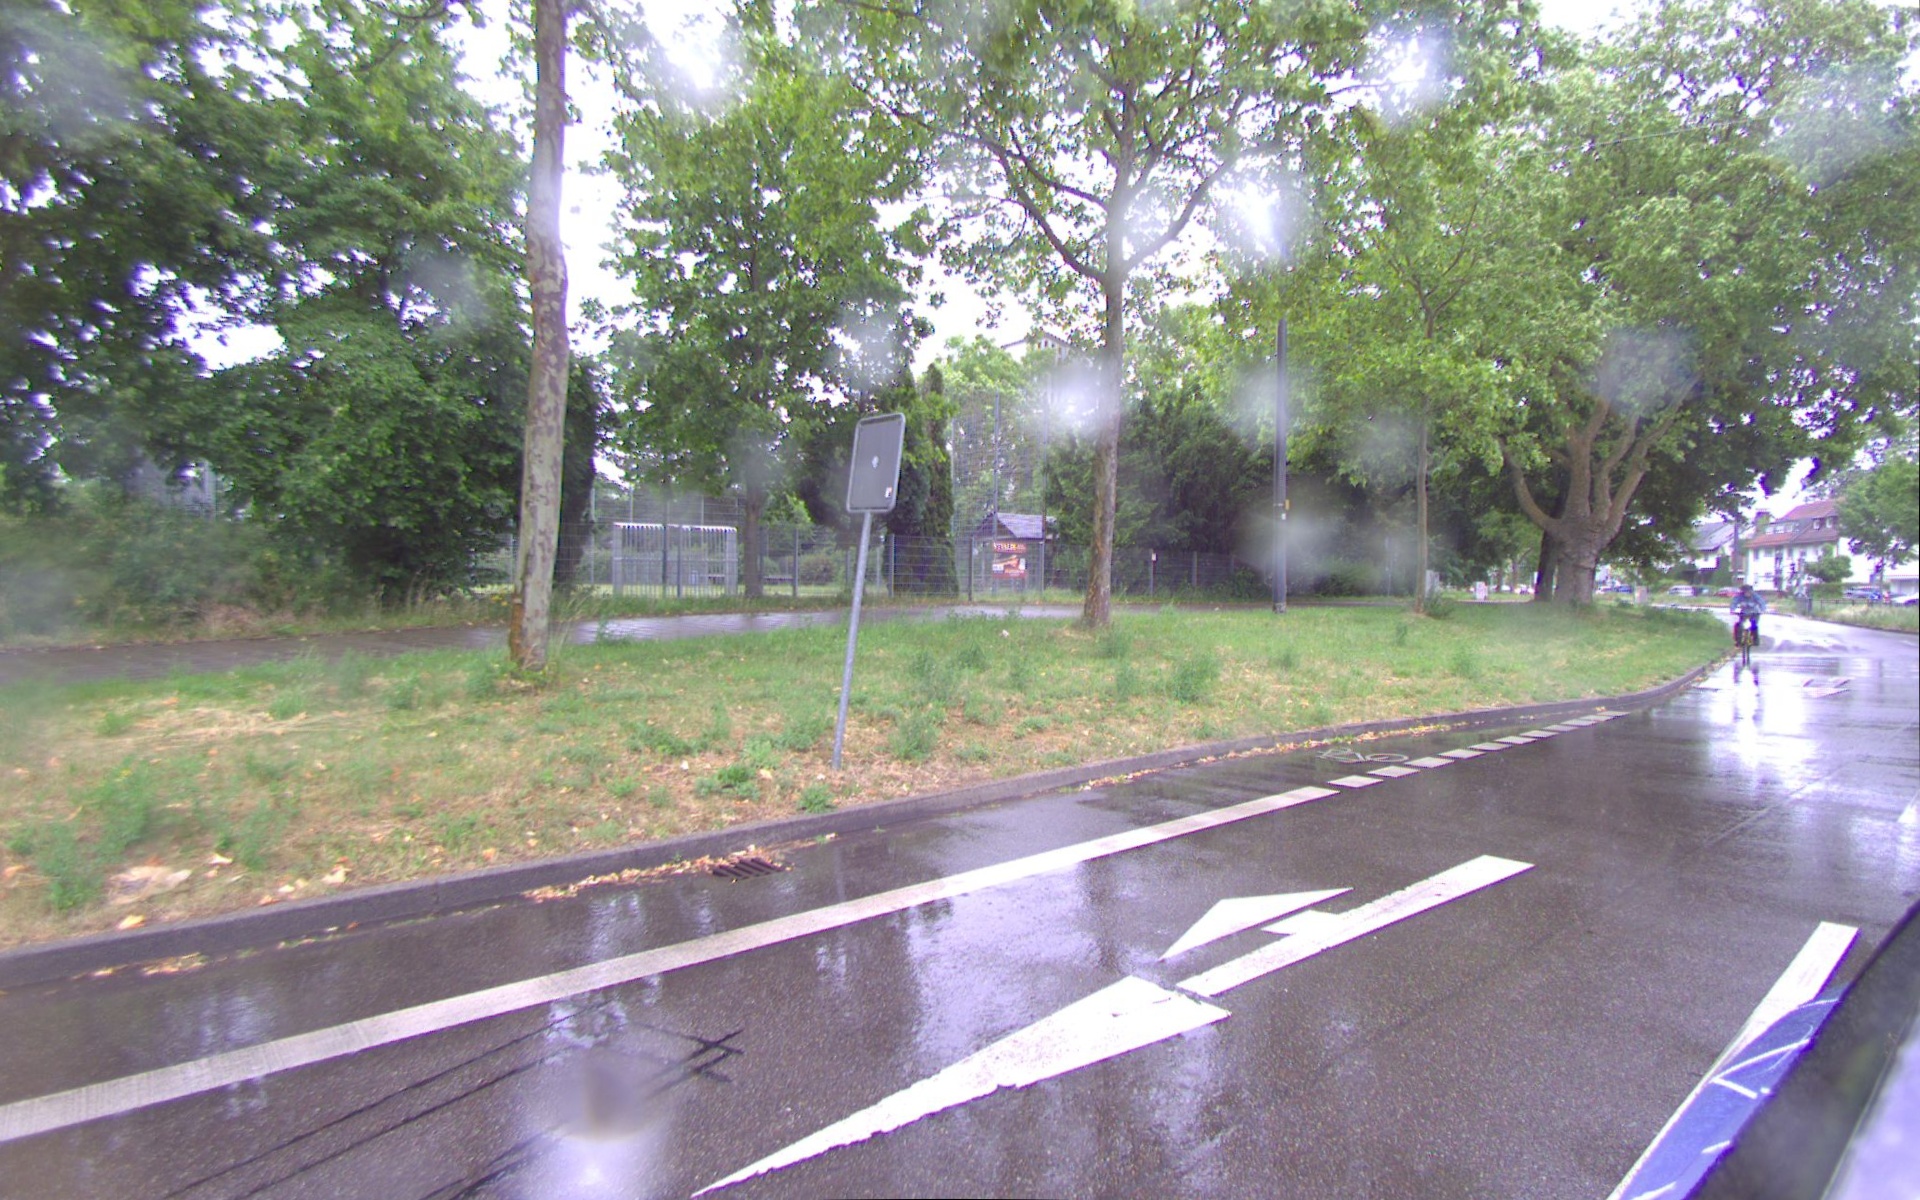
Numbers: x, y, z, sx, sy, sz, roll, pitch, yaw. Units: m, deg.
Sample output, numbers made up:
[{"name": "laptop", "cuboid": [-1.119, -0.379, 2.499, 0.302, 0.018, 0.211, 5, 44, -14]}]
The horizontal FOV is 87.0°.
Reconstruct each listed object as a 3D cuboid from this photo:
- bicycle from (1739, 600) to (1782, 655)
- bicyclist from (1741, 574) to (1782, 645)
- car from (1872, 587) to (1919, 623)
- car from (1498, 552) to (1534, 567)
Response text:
[{"name": "bicycle", "cuboid": [17.762, 0.580, 22.435, 0.690, 1.131, 1.858, 0, 1, 40]}, {"name": "bicyclist", "cuboid": [17.759, 0.200, 22.428, 0.690, 1.525, 0.832, 0, 1, 40]}, {"name": "car", "cuboid": [39.327, 0.187, 40.552, 4.025, 1.438, 1.652, 0, 0, 39]}, {"name": "car", "cuboid": [73.563, -5.312, 133.912, 3.958, 1.850, 1.983, 0, 0, 25]}]
